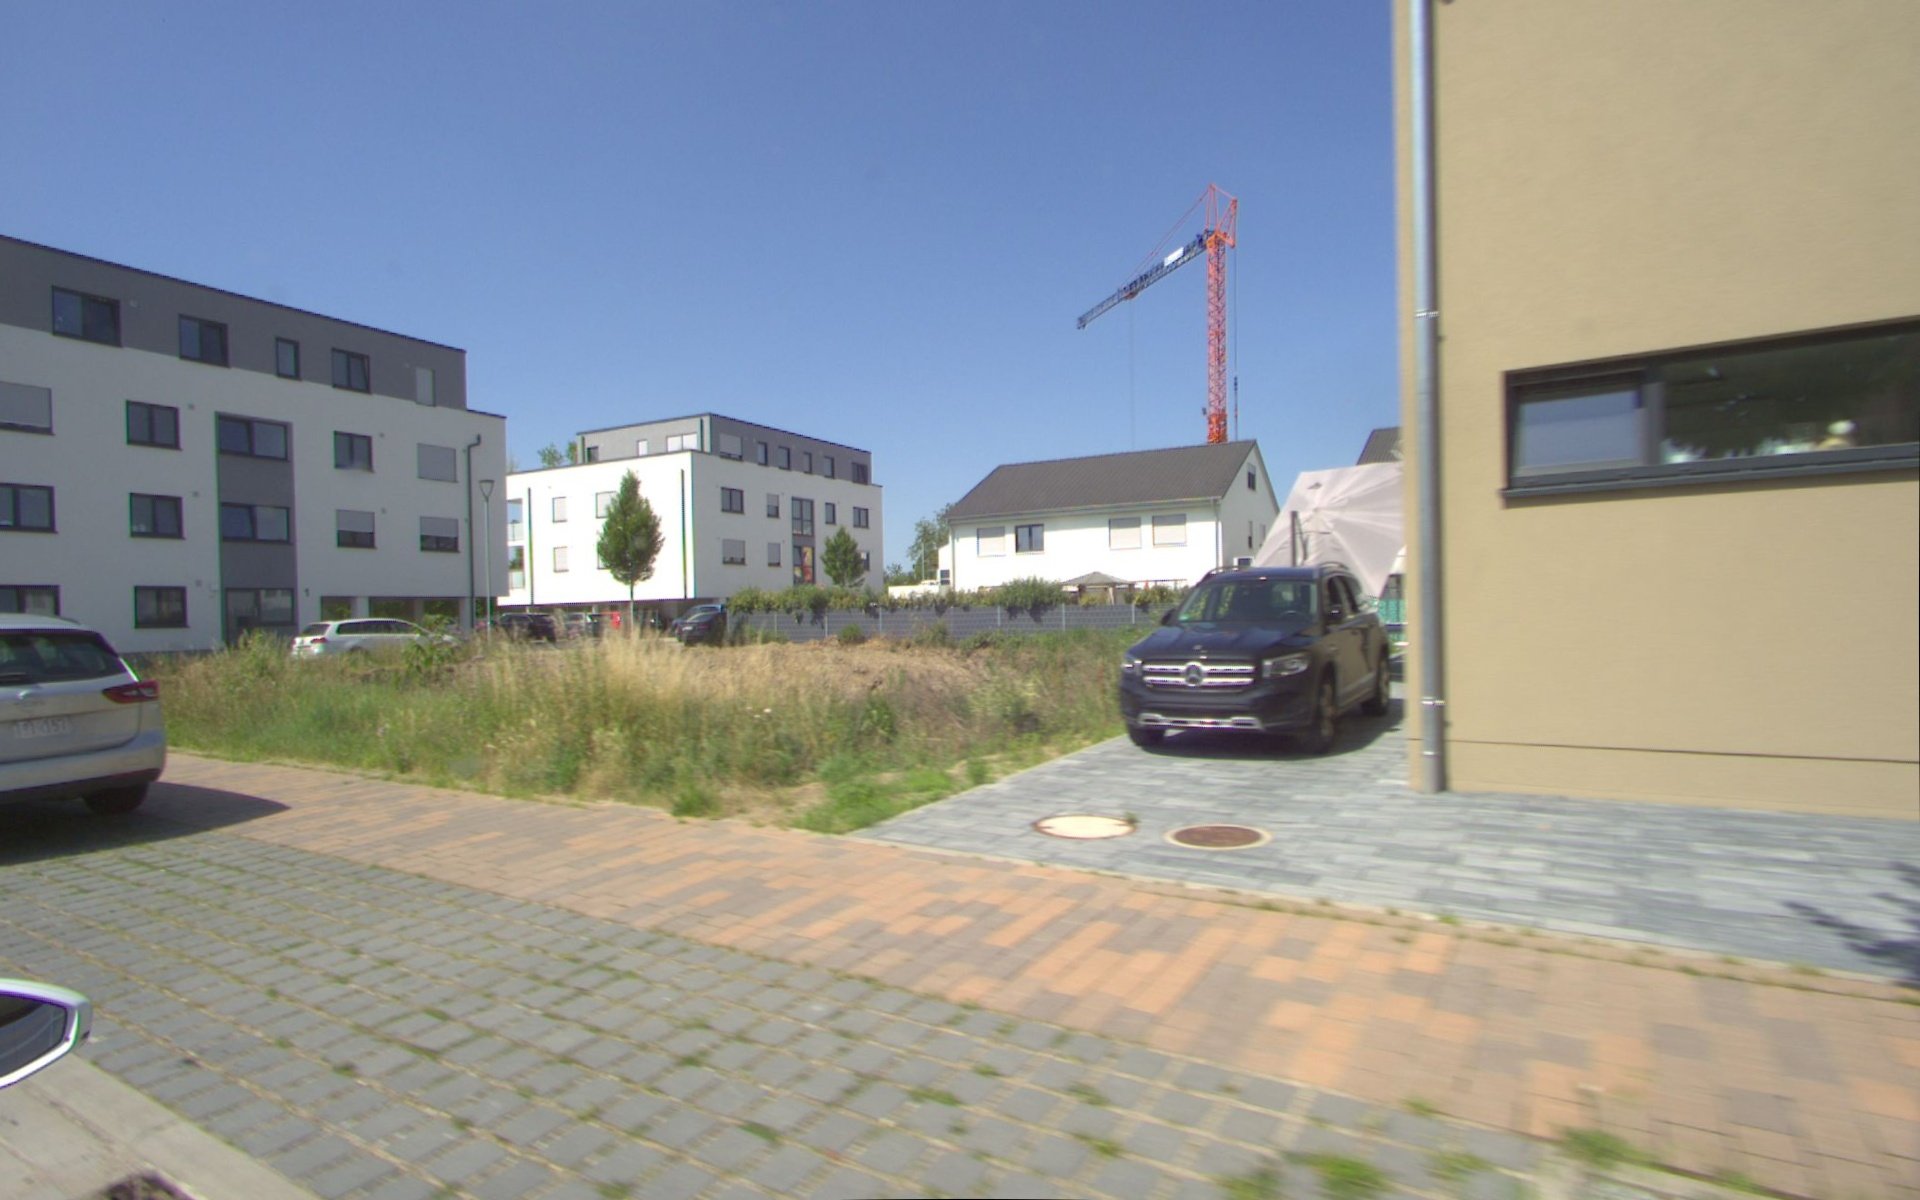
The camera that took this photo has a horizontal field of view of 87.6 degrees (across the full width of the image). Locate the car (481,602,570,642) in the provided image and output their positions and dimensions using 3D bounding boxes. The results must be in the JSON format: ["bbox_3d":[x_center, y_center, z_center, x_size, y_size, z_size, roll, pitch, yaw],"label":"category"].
[{"bbox_3d":[-21.425,1.106,49.338,4.109,1.833,1.874,-2,0,29],"label":"car"}]

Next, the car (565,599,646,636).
[{"bbox_3d":[-19.298,0.955,54.481,4.109,1.833,1.874,-2,0,29],"label":"car"}]

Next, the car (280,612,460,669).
[{"bbox_3d":[-17.072,1.136,29.169,1.854,1.454,4.154,-2,-1,28],"label":"car"}]

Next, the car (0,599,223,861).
[{"bbox_3d":[-7.870,0.798,7.423,5.215,1.532,1.915,0,1,30],"label":"car"}]

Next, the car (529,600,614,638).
[{"bbox_3d":[-20.164,0.990,51.965,4.109,1.833,1.874,-2,0,29],"label":"car"}]

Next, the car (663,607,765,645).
[{"bbox_3d":[-10.326,1.074,42.340,1.854,1.498,4.154,-2,-1,28],"label":"car"}]

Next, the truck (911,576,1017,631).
[{"bbox_3d":[0.307,0.203,67.601,6.867,3.434,2.289,-1,-2,-29],"label":"truck"}]

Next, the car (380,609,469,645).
[{"bbox_3d":[-24.302,1.235,45.424,3.624,1.522,1.874,-2,-1,29],"label":"car"}]

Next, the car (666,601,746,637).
[{"bbox_3d":[-13.631,1.024,53.689,4.113,1.833,1.872,-2,-1,33],"label":"car"}]

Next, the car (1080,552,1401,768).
[{"bbox_3d":[3.127,0.463,10.283,1.971,1.666,4.737,-2,0,31],"label":"car"}]
